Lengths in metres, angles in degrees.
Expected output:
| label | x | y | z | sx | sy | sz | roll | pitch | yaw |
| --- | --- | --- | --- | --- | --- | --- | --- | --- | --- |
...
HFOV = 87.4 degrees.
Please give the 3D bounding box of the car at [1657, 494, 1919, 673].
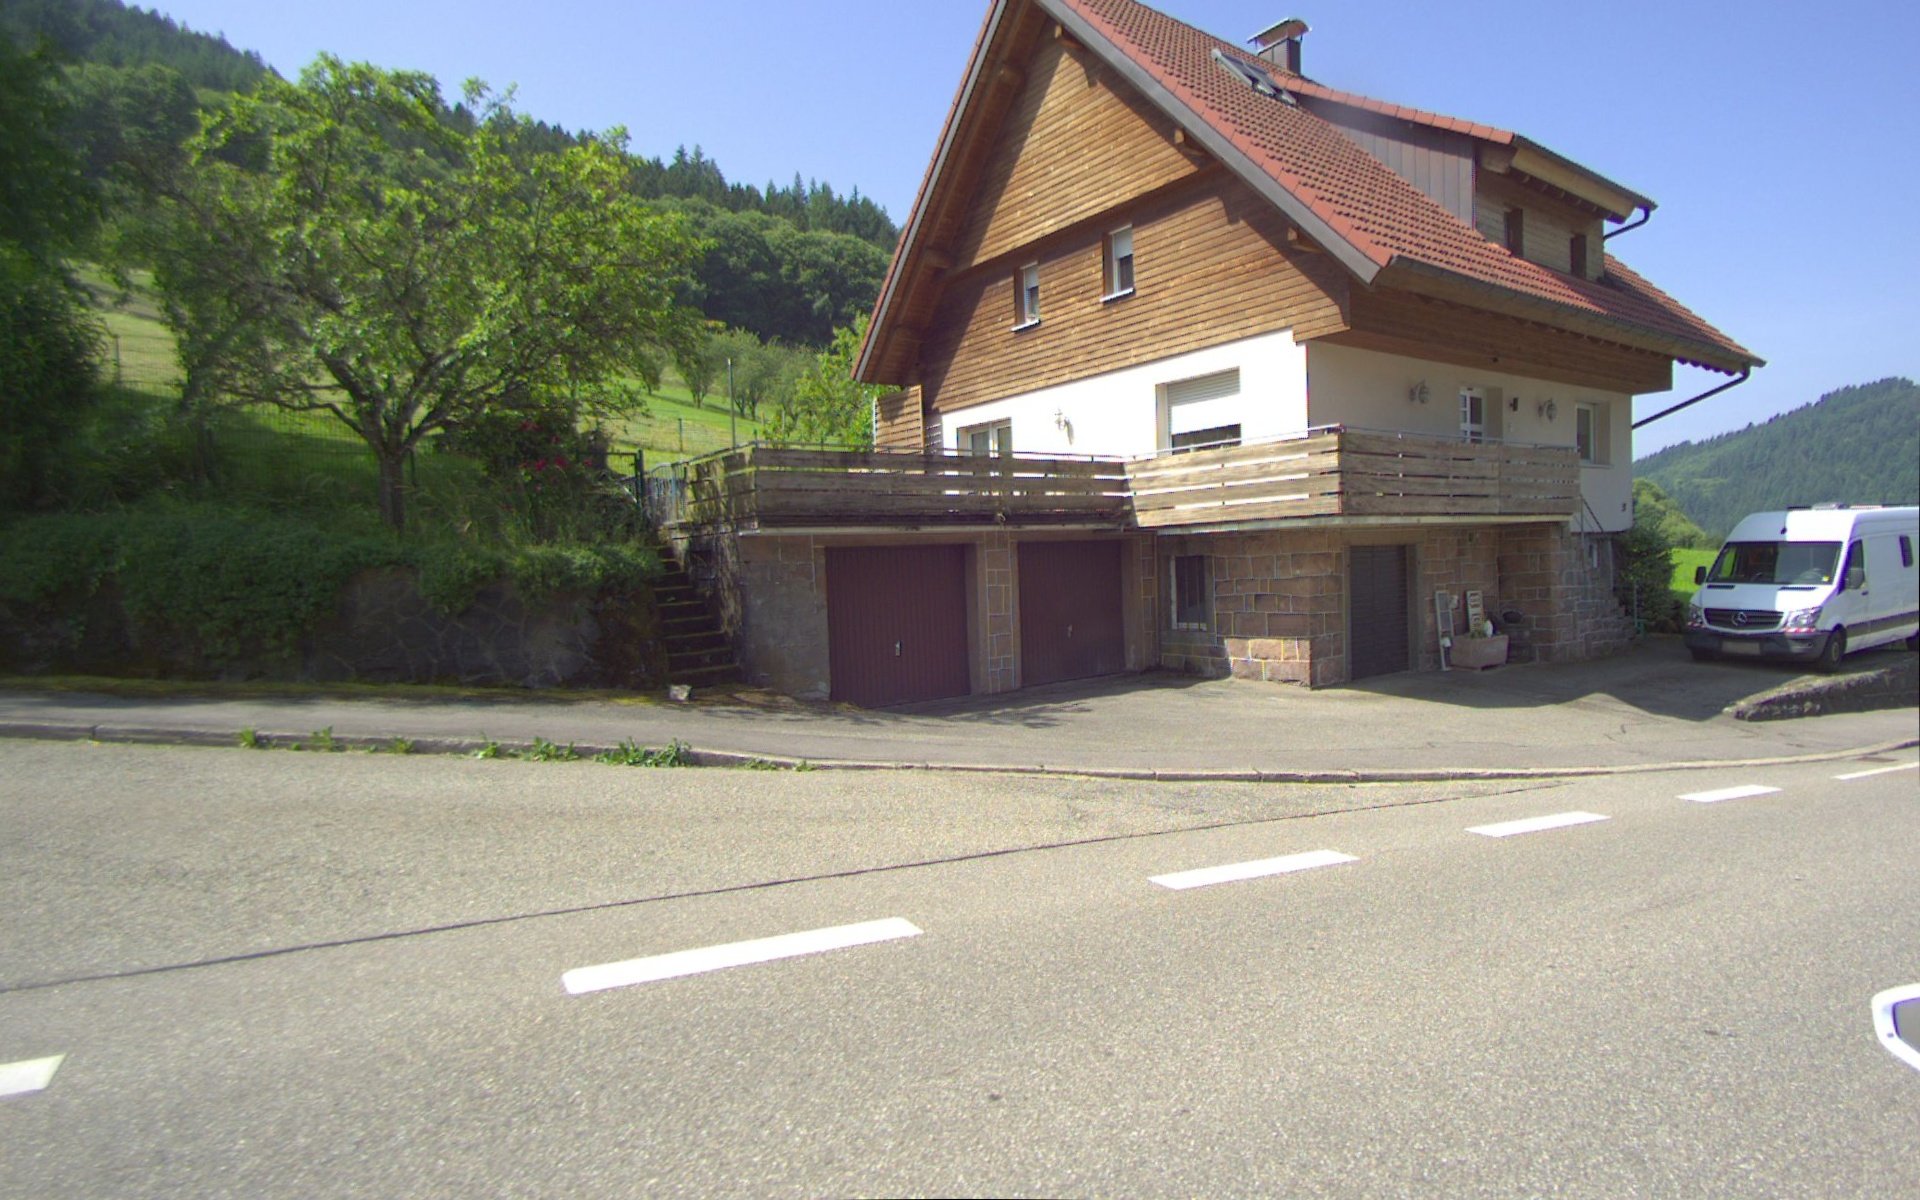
| label | x | y | z | sx | sy | sz | roll | pitch | yaw |
| --- | --- | --- | --- | --- | --- | --- | --- | --- | --- |
| car | 15.389 | -0.446 | 18.037 | 7.092 | 2.725 | 2.056 | -3 | 4 | -32 |
